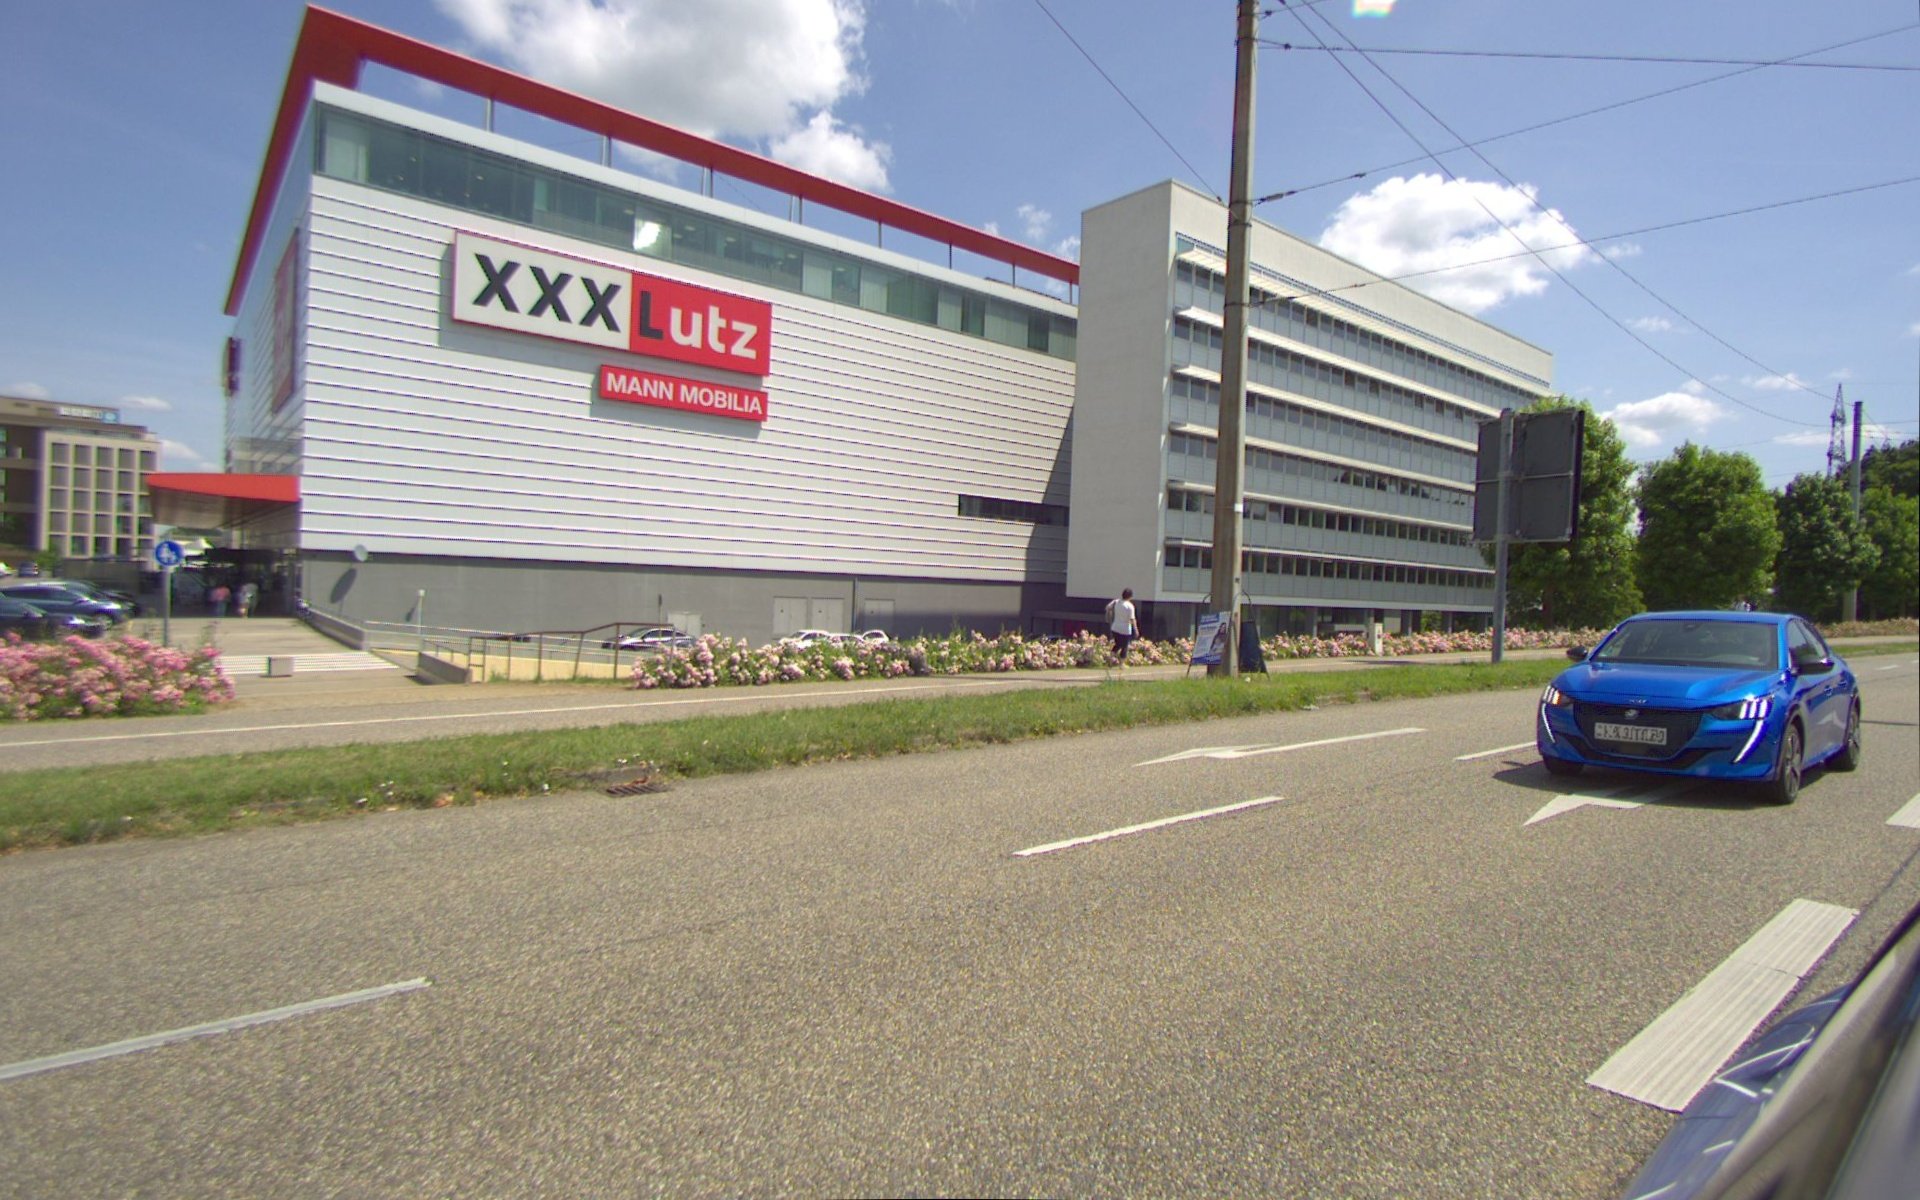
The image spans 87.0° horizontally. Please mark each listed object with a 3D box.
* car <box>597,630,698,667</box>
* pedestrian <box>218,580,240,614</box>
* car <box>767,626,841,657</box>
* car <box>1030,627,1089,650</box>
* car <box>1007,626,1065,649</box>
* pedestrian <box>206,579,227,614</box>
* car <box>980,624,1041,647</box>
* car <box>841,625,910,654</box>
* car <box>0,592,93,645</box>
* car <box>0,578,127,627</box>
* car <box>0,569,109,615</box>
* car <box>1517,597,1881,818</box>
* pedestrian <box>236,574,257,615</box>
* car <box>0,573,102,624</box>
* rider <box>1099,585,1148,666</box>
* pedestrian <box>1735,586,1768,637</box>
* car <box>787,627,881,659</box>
[{"bbox_3d":[-15.799,2.432,51.333,4.509,1.632,1.997,0,0,-41],"label":"car"},{"bbox_3d":[-33.599,-0.142,46.505,0.723,1.577,0.741,1,0,-42],"label":"pedestrian"},{"bbox_3d":[-9.213,2.408,59.900,3.930,1.632,1.997,0,0,-41],"label":"car"},{"bbox_3d":[6.566,2.508,66.582,3.930,1.338,1.607,0,0,-41],"label":"car"},{"bbox_3d":[5.167,2.522,68.463,3.930,1.403,1.646,0,0,-41],"label":"car"},{"bbox_3d":[-34.496,-0.162,46.957,0.723,1.577,0.741,1,0,-42],"label":"pedestrian"},{"bbox_3d":[3.519,2.451,70.400,3.930,1.465,1.997,0,0,-41],"label":"car"},{"bbox_3d":[-5.263,2.433,63.133,3.930,1.632,1.997,0,0,-41],"label":"car"},{"bbox_3d":[-30.630,0.557,31.954,4.912,1.631,1.997,0,0,-41],"label":"car"},{"bbox_3d":[-34.717,0.105,38.796,4.256,1.804,1.997,0,-1,-41],"label":"car"},{"bbox_3d":[-42.013,-0.345,46.868,3.930,2.039,1.997,0,0,-41],"label":"car"},{"bbox_3d":[6.608,0.730,8.896,3.932,1.473,1.840,0,1,-42],"label":"car"},{"bbox_3d":[-33.659,-0.266,47.756,0.723,1.893,0.741,1,0,-42],"label":"pedestrian"},{"bbox_3d":[-38.685,-0.082,42.553,3.930,2.039,1.997,0,1,-41],"label":"car"},{"bbox_3d":[3.069,0.463,18.956,0.607,1.476,0.670,0,0,-41],"label":"rider"},{"bbox_3d":[29.523,0.421,37.738,0.913,1.872,0.758,1,0,-38],"label":"pedestrian"},{"bbox_3d":[-7.177,2.419,57.969,5.056,1.632,1.997,0,0,-41],"label":"car"}]
